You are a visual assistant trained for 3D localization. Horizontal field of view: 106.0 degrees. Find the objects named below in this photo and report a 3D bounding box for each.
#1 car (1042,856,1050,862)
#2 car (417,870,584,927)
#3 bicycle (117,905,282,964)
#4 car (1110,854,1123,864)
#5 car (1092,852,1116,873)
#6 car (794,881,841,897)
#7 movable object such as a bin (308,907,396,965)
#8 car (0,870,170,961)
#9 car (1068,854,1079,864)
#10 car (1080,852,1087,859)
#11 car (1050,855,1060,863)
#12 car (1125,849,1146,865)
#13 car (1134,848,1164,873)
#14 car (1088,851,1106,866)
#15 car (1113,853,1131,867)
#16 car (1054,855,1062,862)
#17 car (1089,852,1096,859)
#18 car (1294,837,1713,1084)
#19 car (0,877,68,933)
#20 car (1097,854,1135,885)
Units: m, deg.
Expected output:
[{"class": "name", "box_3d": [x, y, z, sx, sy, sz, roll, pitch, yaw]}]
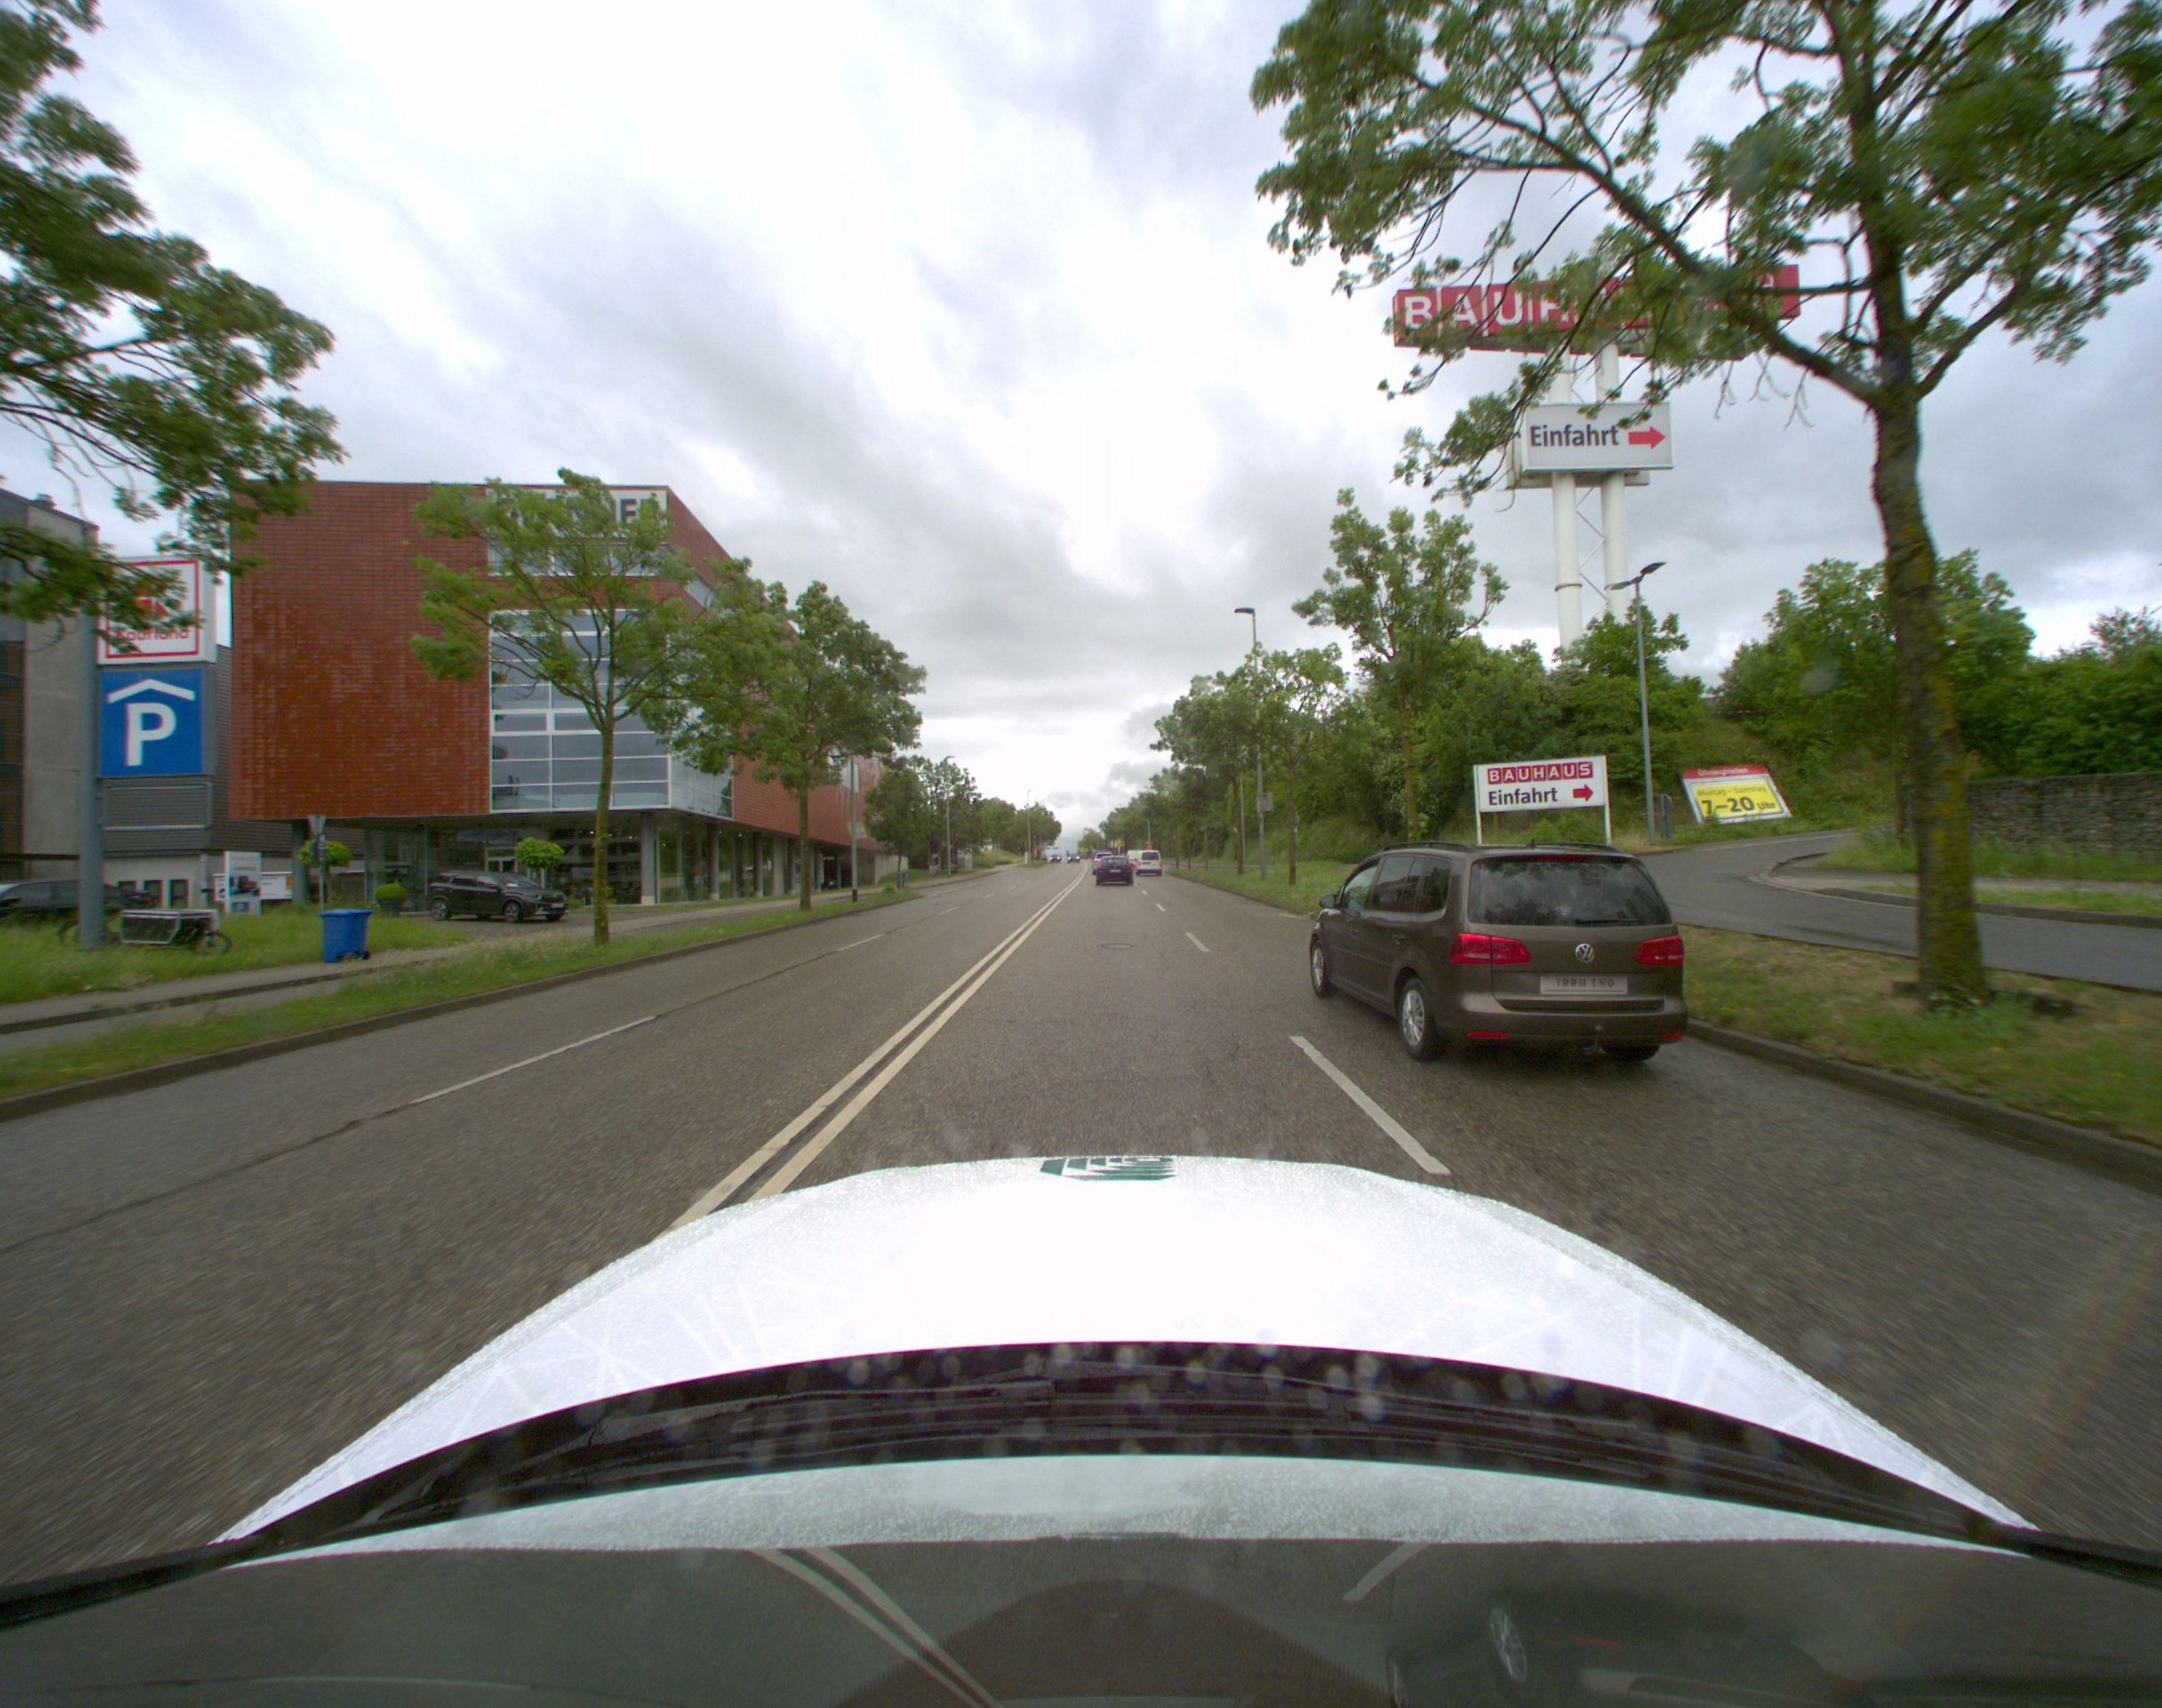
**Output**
[{"class": "car", "box_3d": [-8.029, 1.167, 187.278, 1.789, 1.510, 3.997, 0, -1, -2]}, {"class": "car", "box_3d": [-18.960, 1.417, 26.689, 4.247, 1.682, 1.803, 1, -1, 6]}, {"class": "bicycle", "box_3d": [-17.143, 1.549, 15.885, 2.067, 0.935, 1.095, 3, -1, 5]}, {"class": "car", "box_3d": [5.572, 0.849, 129.886, 1.789, 1.510, 3.997, 0, -1, -2]}, {"class": "car", "box_3d": [1.781, 0.664, 63.206, 1.788, 1.510, 3.999, 0, -1, 0]}, {"class": "car", "box_3d": [-22.897, 3.038, 70.757, 3.520, 1.284, 1.522, 0, -1, 4]}, {"class": "movable object such as a bin", "box_3d": [-15.160, 1.692, 16.963, 0.816, 1.079, 1.086, -1, 0, 1]}, {"class": "car", "box_3d": [-23.547, 1.336, 17.771, 2.132, 1.773, 4.606, -1, 1, -1]}, {"class": "car", "box_3d": [-1.239, 0.781, 131.771, 1.789, 1.510, 3.997, 0, -1, -2]}, {"class": "car", "box_3d": [0.572, 0.274, 188.313, 1.788, 1.510, 3.999, 0, -1, 0]}, {"class": "car", "box_3d": [-4.750, 0.923, 147.661, 1.789, 1.510, 3.997, 0, -1, -2]}, {"class": "car", "box_3d": [5.294, 0.324, 80.009, 1.789, 1.510, 3.998, 0, -1, -1]}, {"class": "car", "box_3d": [4.815, 0.459, 58.017, 1.821, 1.759, 3.999, 0, 0, 0]}, {"class": "car", "box_3d": [1.662, 0.442, 84.624, 1.788, 1.510, 3.999, 0, -1, 0]}, {"class": "car", "box_3d": [4.669, 0.717, 93.654, 1.789, 1.510, 3.997, 0, -1, -2]}, {"class": "car", "box_3d": [-5.066, 1.085, 177.210, 1.789, 1.510, 3.997, 0, -1, -2]}, {"class": "car", "box_3d": [2.776, 0.422, 198.463, 1.788, 1.510, 3.999, 0, -1, 0]}, {"class": "car", "box_3d": [3.285, 0.687, 7.386, 1.679, 1.581, 4.219, -1, 0, 1]}, {"class": "car", "box_3d": [-32.933, 1.493, 23.659, 4.187, 1.510, 1.897, -1, 1, -7]}, {"class": "car", "box_3d": [1.759, 0.755, 41.352, 1.820, 1.468, 4.002, -2, 0, 2]}]
